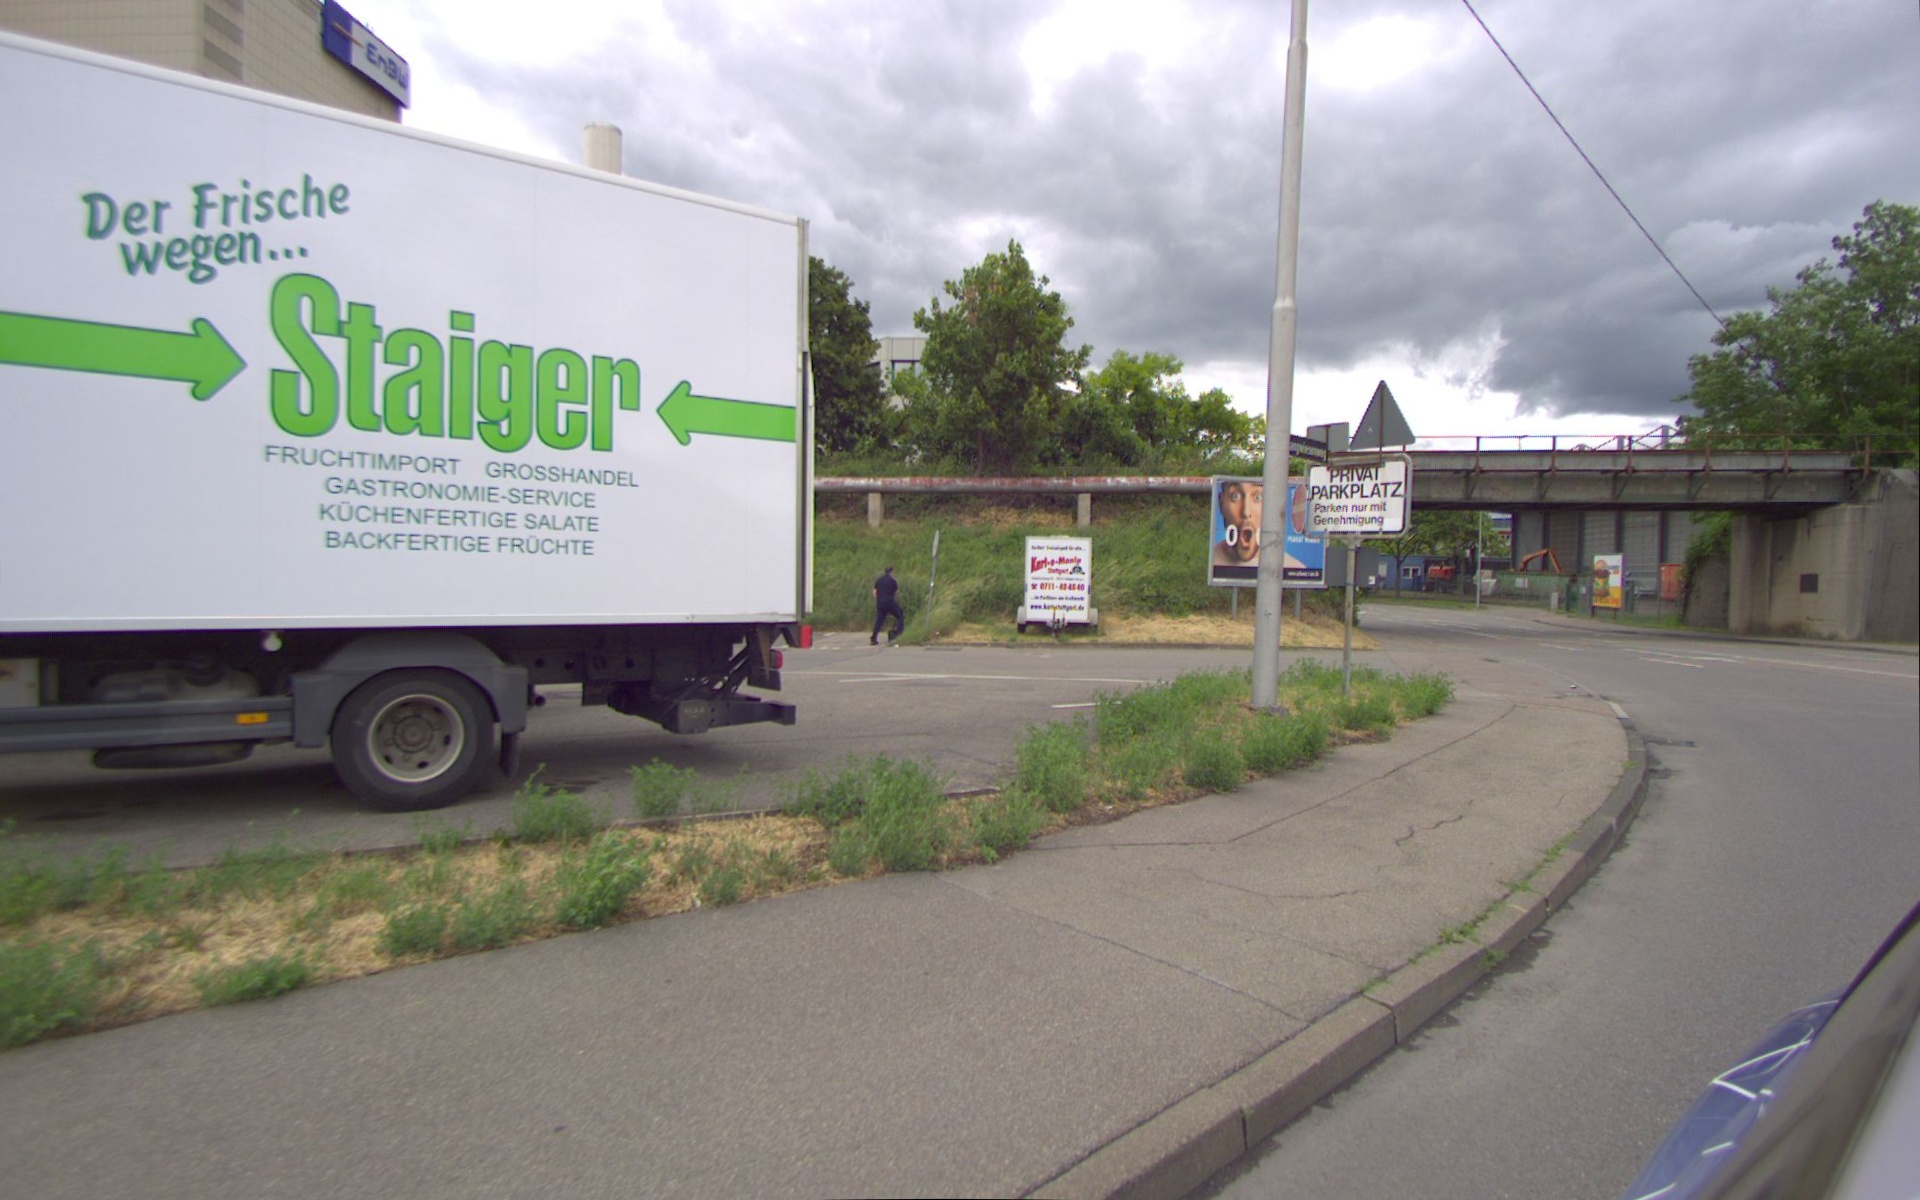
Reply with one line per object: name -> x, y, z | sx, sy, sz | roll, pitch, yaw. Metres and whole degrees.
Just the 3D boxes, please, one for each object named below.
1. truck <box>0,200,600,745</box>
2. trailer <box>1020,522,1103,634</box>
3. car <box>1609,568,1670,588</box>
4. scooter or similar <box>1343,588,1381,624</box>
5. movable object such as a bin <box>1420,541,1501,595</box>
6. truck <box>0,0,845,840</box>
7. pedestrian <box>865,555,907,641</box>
truck -> -7.567, -0.887, 7.960 | 8.438, 3.677, 3.074 | 0, 1, -33
trailer -> 2.451, -0.525, 24.191 | 1.779, 2.427, 4.407 | 1, 1, 7
car -> 49.220, -1.629, 73.374 | 1.705, 1.391, 4.000 | 2, 2, 0
scooter or similar -> 14.992, 0.206, 37.798 | 0.495, 1.251, 1.672 | 5, 1, -5
movable object such as a bin -> 40.967, -2.573, 83.045 | 2.678, 4.142, 6.562 | 2, 1, -7
truck -> -5.091, -0.828, 5.493 | 8.440, 3.677, 3.073 | 0, 0, -35
pedestrian -> -1.621, -0.057, 22.282 | 0.689, 1.843, 0.693 | 1, 1, 20
